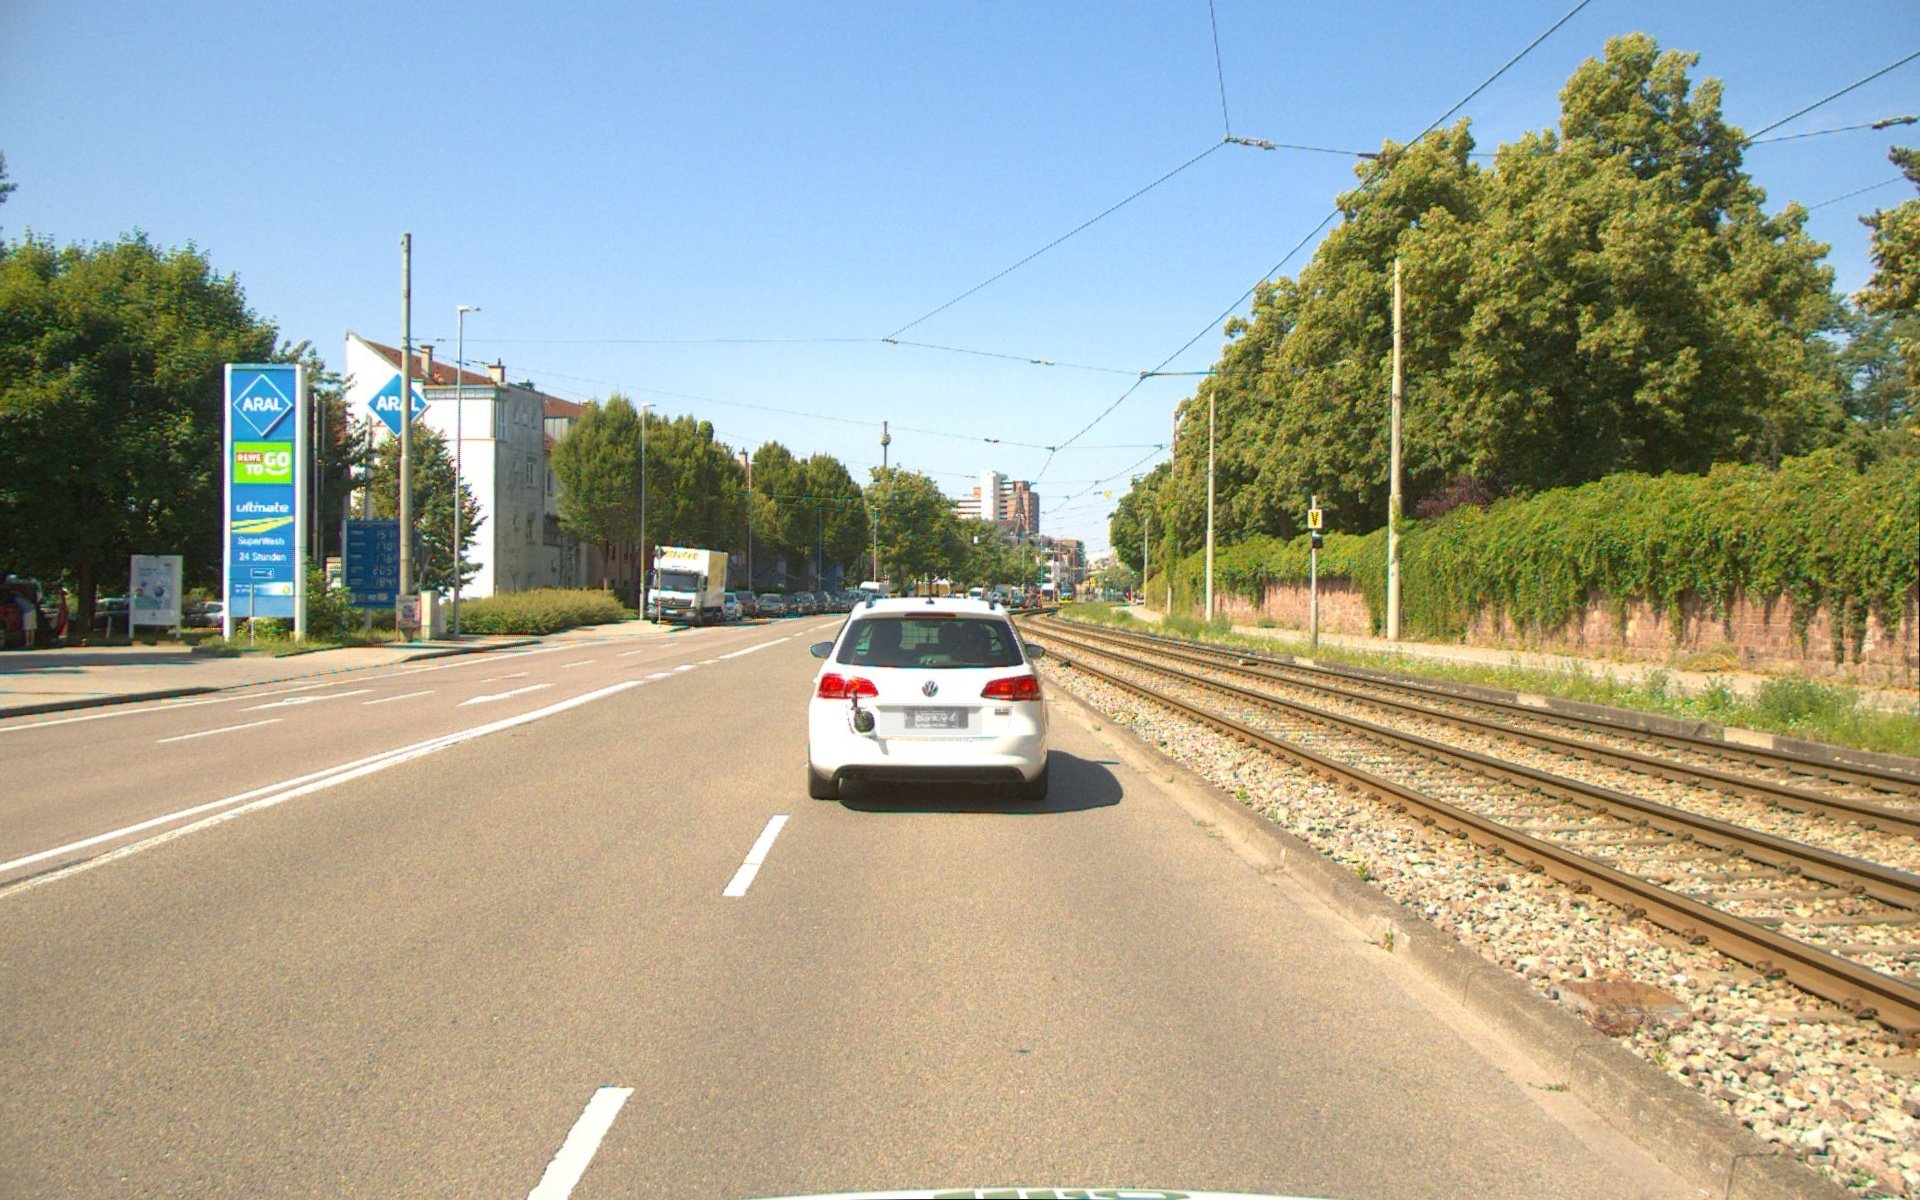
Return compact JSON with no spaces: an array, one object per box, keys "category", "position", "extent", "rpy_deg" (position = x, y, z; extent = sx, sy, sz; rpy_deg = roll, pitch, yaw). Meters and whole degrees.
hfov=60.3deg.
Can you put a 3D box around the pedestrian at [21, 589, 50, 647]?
[{"category":"pedestrian","position":[-24.313,0.471,43.482],"extent":[0.488,1.507,0.500],"rpy_deg":[0,0,-1]}]

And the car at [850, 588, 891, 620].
[{"category":"car","position":[-4.525,0.179,84.184],"extent":[1.763,1.533,4.001],"rpy_deg":[1,1,1]}]

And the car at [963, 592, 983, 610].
[{"category":"car","position":[1.824,0.130,228.731],"extent":[1.840,2.458,5.120],"rpy_deg":[0,0,11]}]

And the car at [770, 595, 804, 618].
[{"category":"car","position":[-12.088,0.460,115.817],"extent":[1.687,1.500,4.716],"rpy_deg":[2,0,2]}]

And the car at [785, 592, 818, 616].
[{"category":"car","position":[-11.662,0.290,121.789],"extent":[1.681,1.653,4.314],"rpy_deg":[2,0,3]}]

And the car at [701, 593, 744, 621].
[{"category":"car","position":[-12.919,0.354,90.214],"extent":[1.722,1.454,4.281],"rpy_deg":[2,0,-1]}]

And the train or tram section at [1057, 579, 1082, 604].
[{"category":"train or tram section","position":[16.651,-1.251,250.332],"extent":[2.457,3.812,13.322],"rpy_deg":[0,0,9]}]

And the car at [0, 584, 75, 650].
[{"category":"car","position":[-25.056,0.413,42.971],"extent":[1.763,1.597,4.517],"rpy_deg":[0,2,-1]}]

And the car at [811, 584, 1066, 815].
[{"category":"car","position":[-0.206,0.640,13.180],"extent":[1.657,1.476,4.457],"rpy_deg":[1,1,-2]}]

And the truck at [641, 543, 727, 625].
[{"category":"truck","position":[-12.963,-0.734,78.324],"extent":[2.612,3.592,8.589],"rpy_deg":[2,0,-1]}]

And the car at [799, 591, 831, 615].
[{"category":"car","position":[-11.150,0.244,127.313],"extent":[1.732,1.753,4.871],"rpy_deg":[2,0,2]}]

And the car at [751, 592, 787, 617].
[{"category":"car","position":[-12.592,0.309,109.256],"extent":[1.744,1.509,4.857],"rpy_deg":[2,0,0]}]

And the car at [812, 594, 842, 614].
[{"category":"car","position":[-10.676,0.331,132.779],"extent":[1.655,1.500,4.051],"rpy_deg":[3,0,5]}]

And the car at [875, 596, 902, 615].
[{"category":"car","position":[-5.628,0.414,131.150],"extent":[1.624,1.445,4.312],"rpy_deg":[-2,0,4]}]

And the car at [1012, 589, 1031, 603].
[{"category":"car","position":[6.912,-0.473,184.844],"extent":[1.762,1.485,4.003],"rpy_deg":[1,0,7]}]

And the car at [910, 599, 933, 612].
[{"category":"car","position":[-4.202,0.604,181.927],"extent":[1.663,1.442,4.003],"rpy_deg":[0,0,11]}]

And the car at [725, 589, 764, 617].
[{"category":"car","position":[-12.805,0.160,98.505],"extent":[1.695,1.579,4.318],"rpy_deg":[1,0,0]}]

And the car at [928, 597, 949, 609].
[{"category":"car","position":[-2.505,0.377,194.726],"extent":[1.663,1.376,4.003],"rpy_deg":[0,0,11]}]

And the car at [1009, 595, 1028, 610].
[{"category":"car","position":[6.322,0.219,178.645],"extent":[1.762,1.533,4.003],"rpy_deg":[1,0,7]}]
